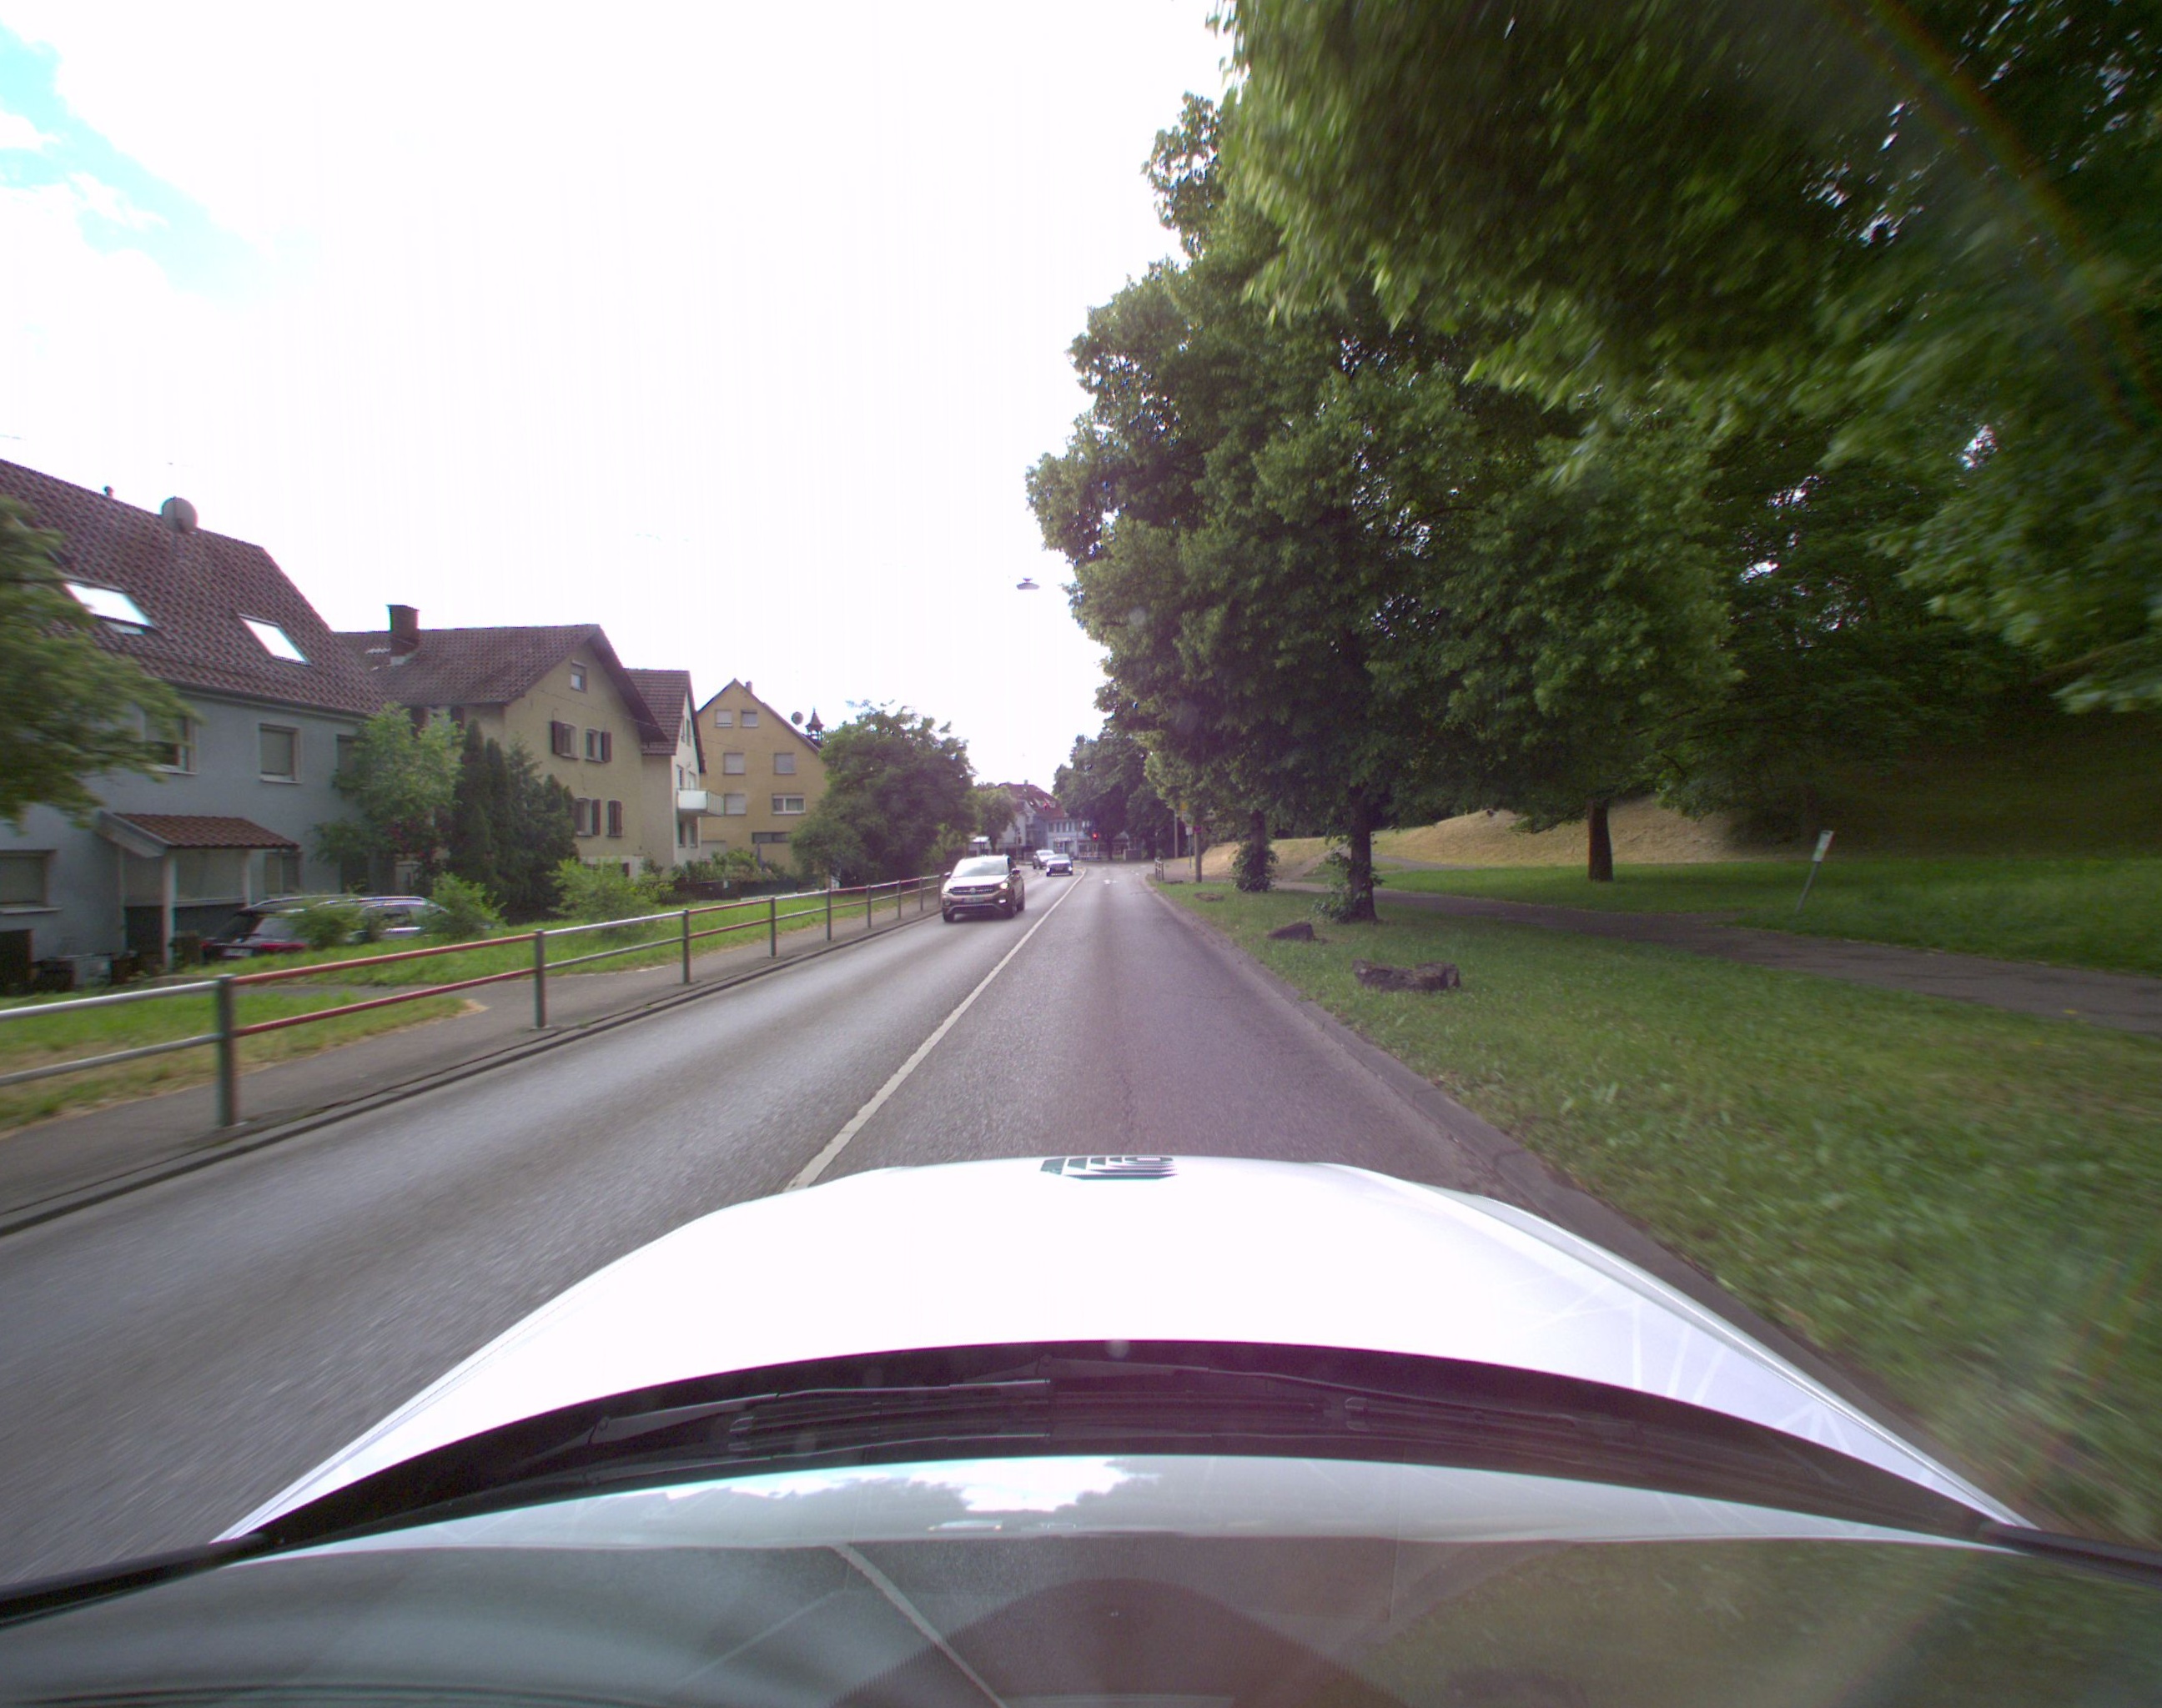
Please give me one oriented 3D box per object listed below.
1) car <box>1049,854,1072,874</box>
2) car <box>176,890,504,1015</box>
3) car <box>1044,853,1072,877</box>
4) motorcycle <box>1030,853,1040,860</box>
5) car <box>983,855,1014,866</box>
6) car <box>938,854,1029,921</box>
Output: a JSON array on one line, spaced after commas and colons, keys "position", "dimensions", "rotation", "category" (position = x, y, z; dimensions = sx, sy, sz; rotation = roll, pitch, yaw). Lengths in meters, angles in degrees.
[{"position": [-1.896, 0.890, 76.425], "dimensions": [1.928, 1.724, 4.692], "rotation": [-3, 0, 1], "category": "car"}, {"position": [-12.959, 1.634, 14.651], "dimensions": [1.910, 1.695, 4.008], "rotation": [-3, 0, 7], "category": "car"}, {"position": [-1.531, 0.736, 56.042], "dimensions": [1.710, 1.468, 4.099], "rotation": [-2, 0, 0], "category": "car"}, {"position": [-7.970, 0.383, 141.335], "dimensions": [1.484, 1.106, 0.563], "rotation": [-3, 5, 14], "category": "motorcycle"}, {"position": [-13.345, 1.034, 131.879], "dimensions": [4.542, 1.517, 2.009], "rotation": [-3, 0, 16], "category": "car"}, {"position": [-2.429, 0.800, 21.292], "dimensions": [1.698, 1.512, 4.002], "rotation": [-3, 0, 2], "category": "car"}]
